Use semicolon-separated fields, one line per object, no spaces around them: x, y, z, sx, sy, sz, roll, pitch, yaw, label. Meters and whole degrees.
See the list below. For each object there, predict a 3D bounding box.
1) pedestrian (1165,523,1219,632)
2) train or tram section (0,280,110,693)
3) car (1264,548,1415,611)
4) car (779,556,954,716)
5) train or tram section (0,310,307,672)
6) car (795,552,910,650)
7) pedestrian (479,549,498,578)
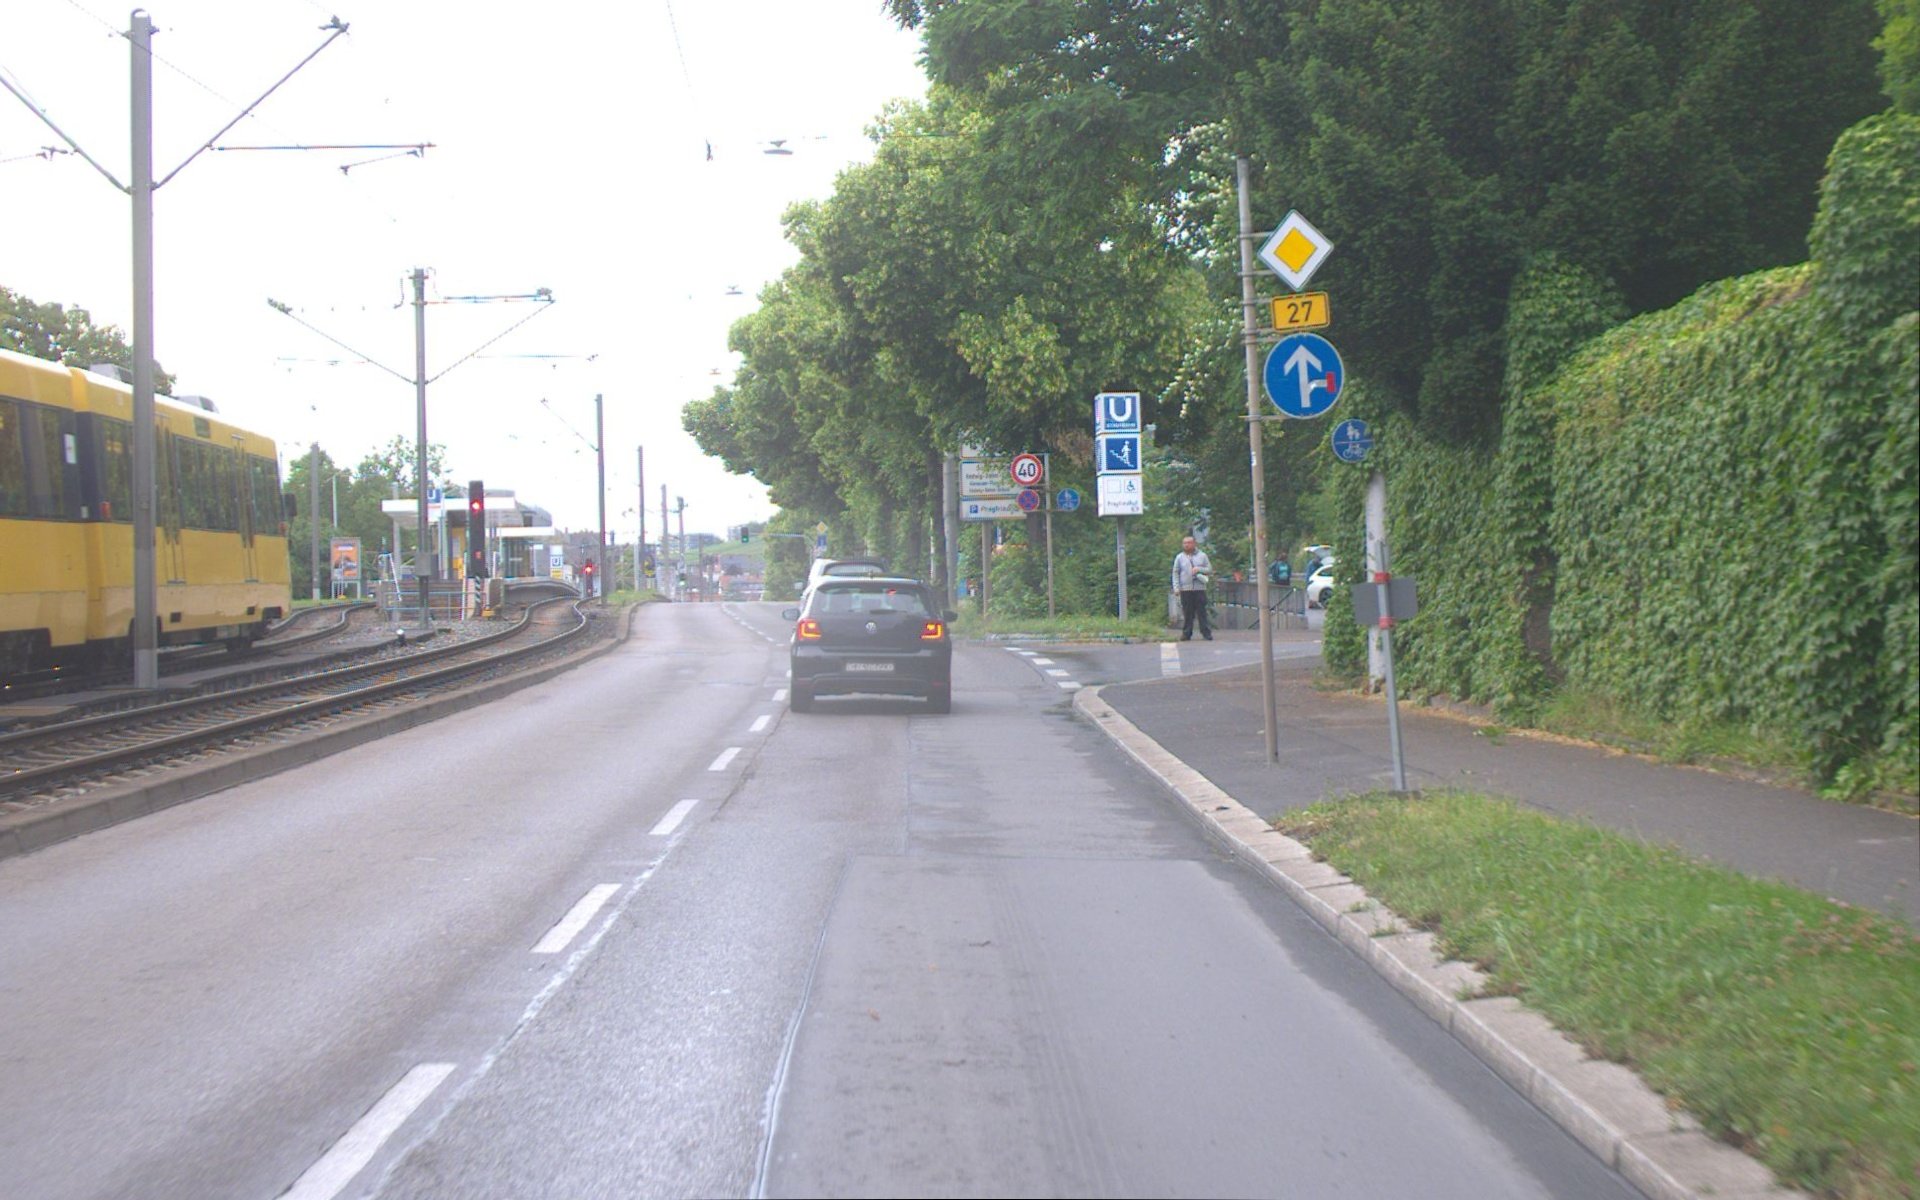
3.978;-0.387;59.057;0.855;1.847;0.737;0;1;-1;pedestrian
-10.413;-0.976;27.888;2.828;3.962;20.031;-1;1;-2;train or tram section
12.007;-0.656;108.974;1.941;1.828;4.465;1;1;-45;car
-0.941;0.336;36.333;1.726;1.535;4.000;-1;1;0;car
-11.410;-1.360;46.639;2.828;3.962;17.880;-1;1;-4;train or tram section
-1.804;-0.016;56.447;1.687;1.512;4.001;-1;1;-4;car
-19.914;-1.530;145.199;0.710;1.221;0.619;0;0;-4;pedestrian
